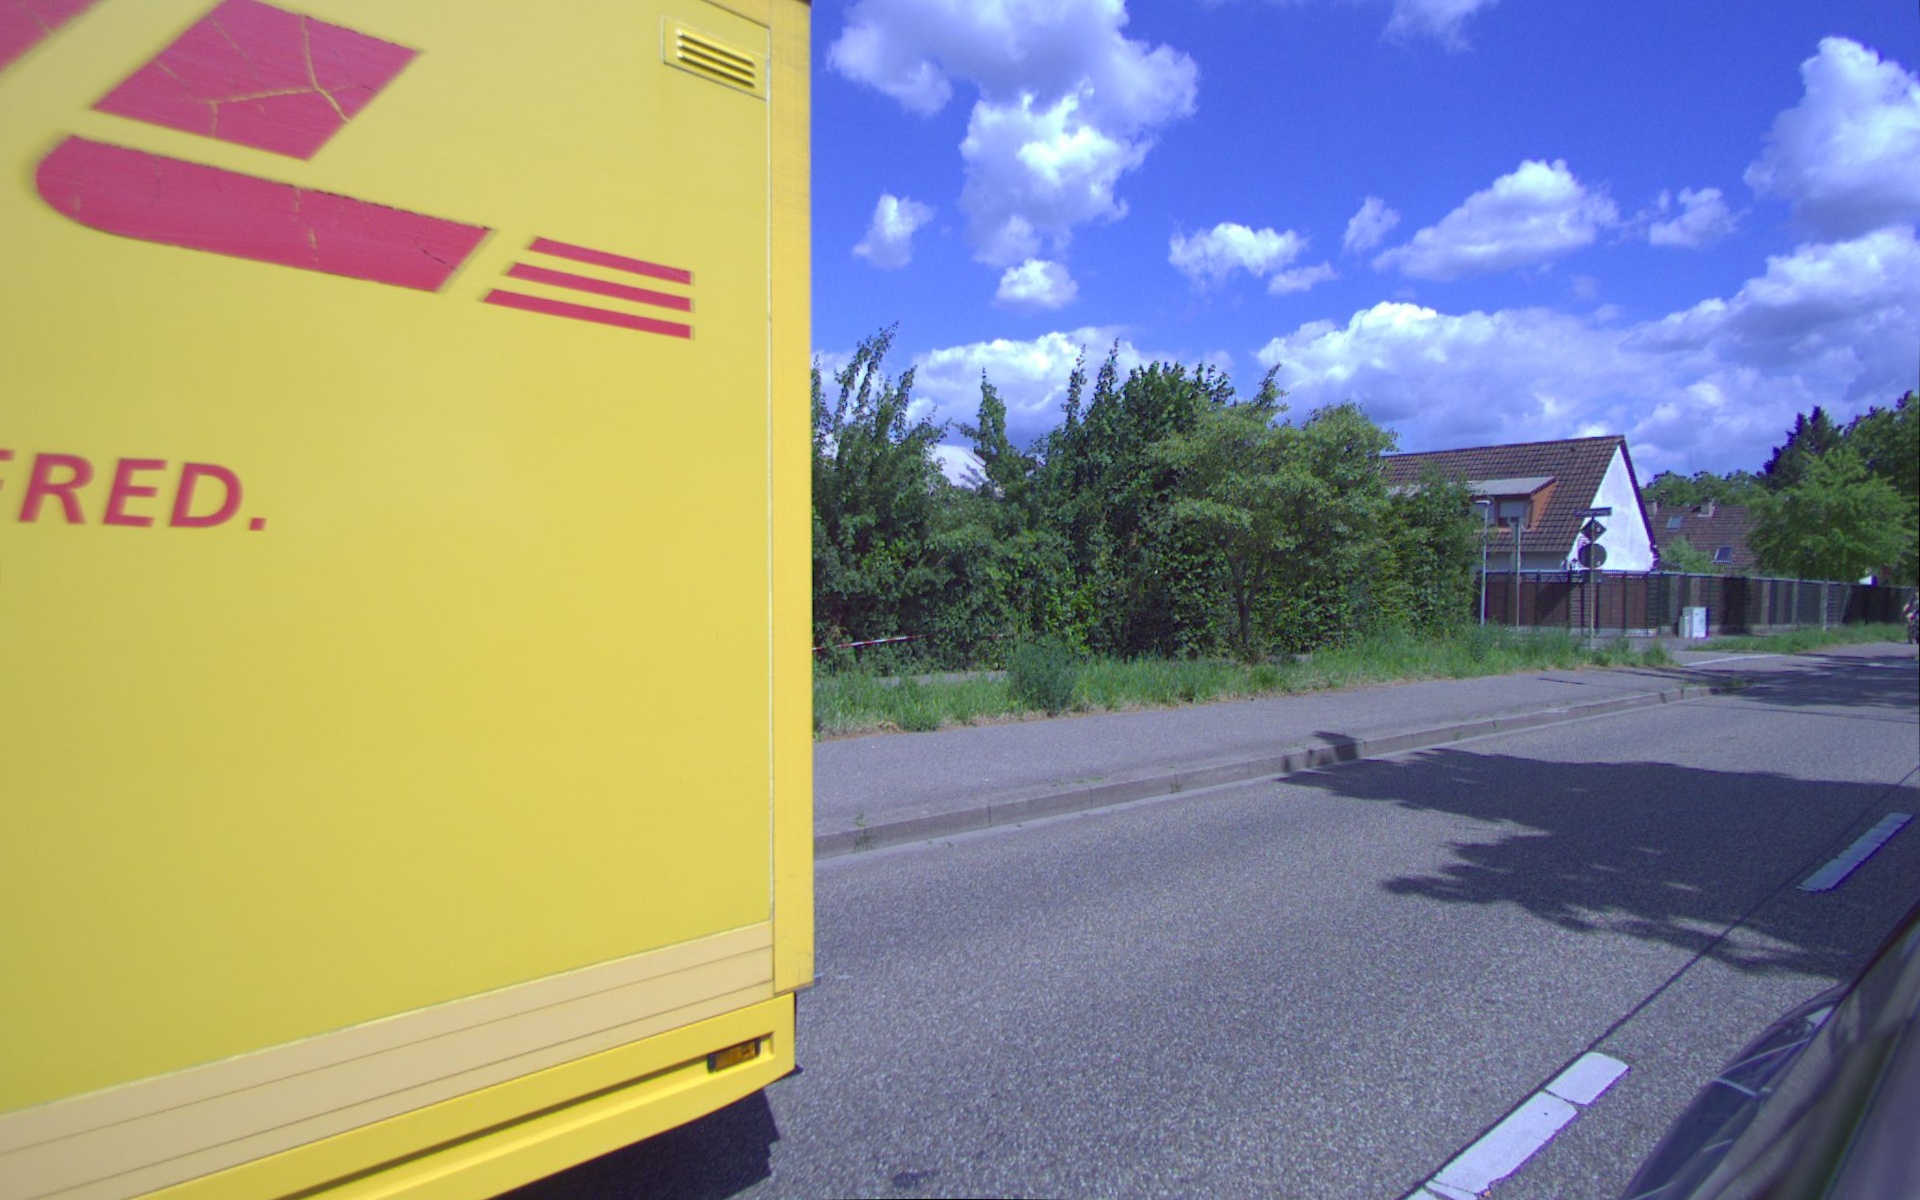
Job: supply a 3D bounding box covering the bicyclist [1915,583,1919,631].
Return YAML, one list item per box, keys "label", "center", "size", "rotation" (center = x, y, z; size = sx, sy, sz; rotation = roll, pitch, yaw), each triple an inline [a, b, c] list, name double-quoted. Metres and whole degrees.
- label: "bicyclist"
  center: [33.478, 0.254, 34.957]
  size: [0.687, 1.655, 0.620]
  rotation: [1, 1, -39]

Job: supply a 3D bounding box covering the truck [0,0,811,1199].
- label: "truck"
  center: [-3.999, -0.028, 0.439]
  size: [7.890, 2.917, 2.267]
  rotation: [0, 0, -42]

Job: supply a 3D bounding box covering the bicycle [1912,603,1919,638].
- label: "bicycle"
  center: [33.503, 0.711, 34.987]
  size: [1.708, 1.167, 0.627]
  rotation: [0, 1, -39]
